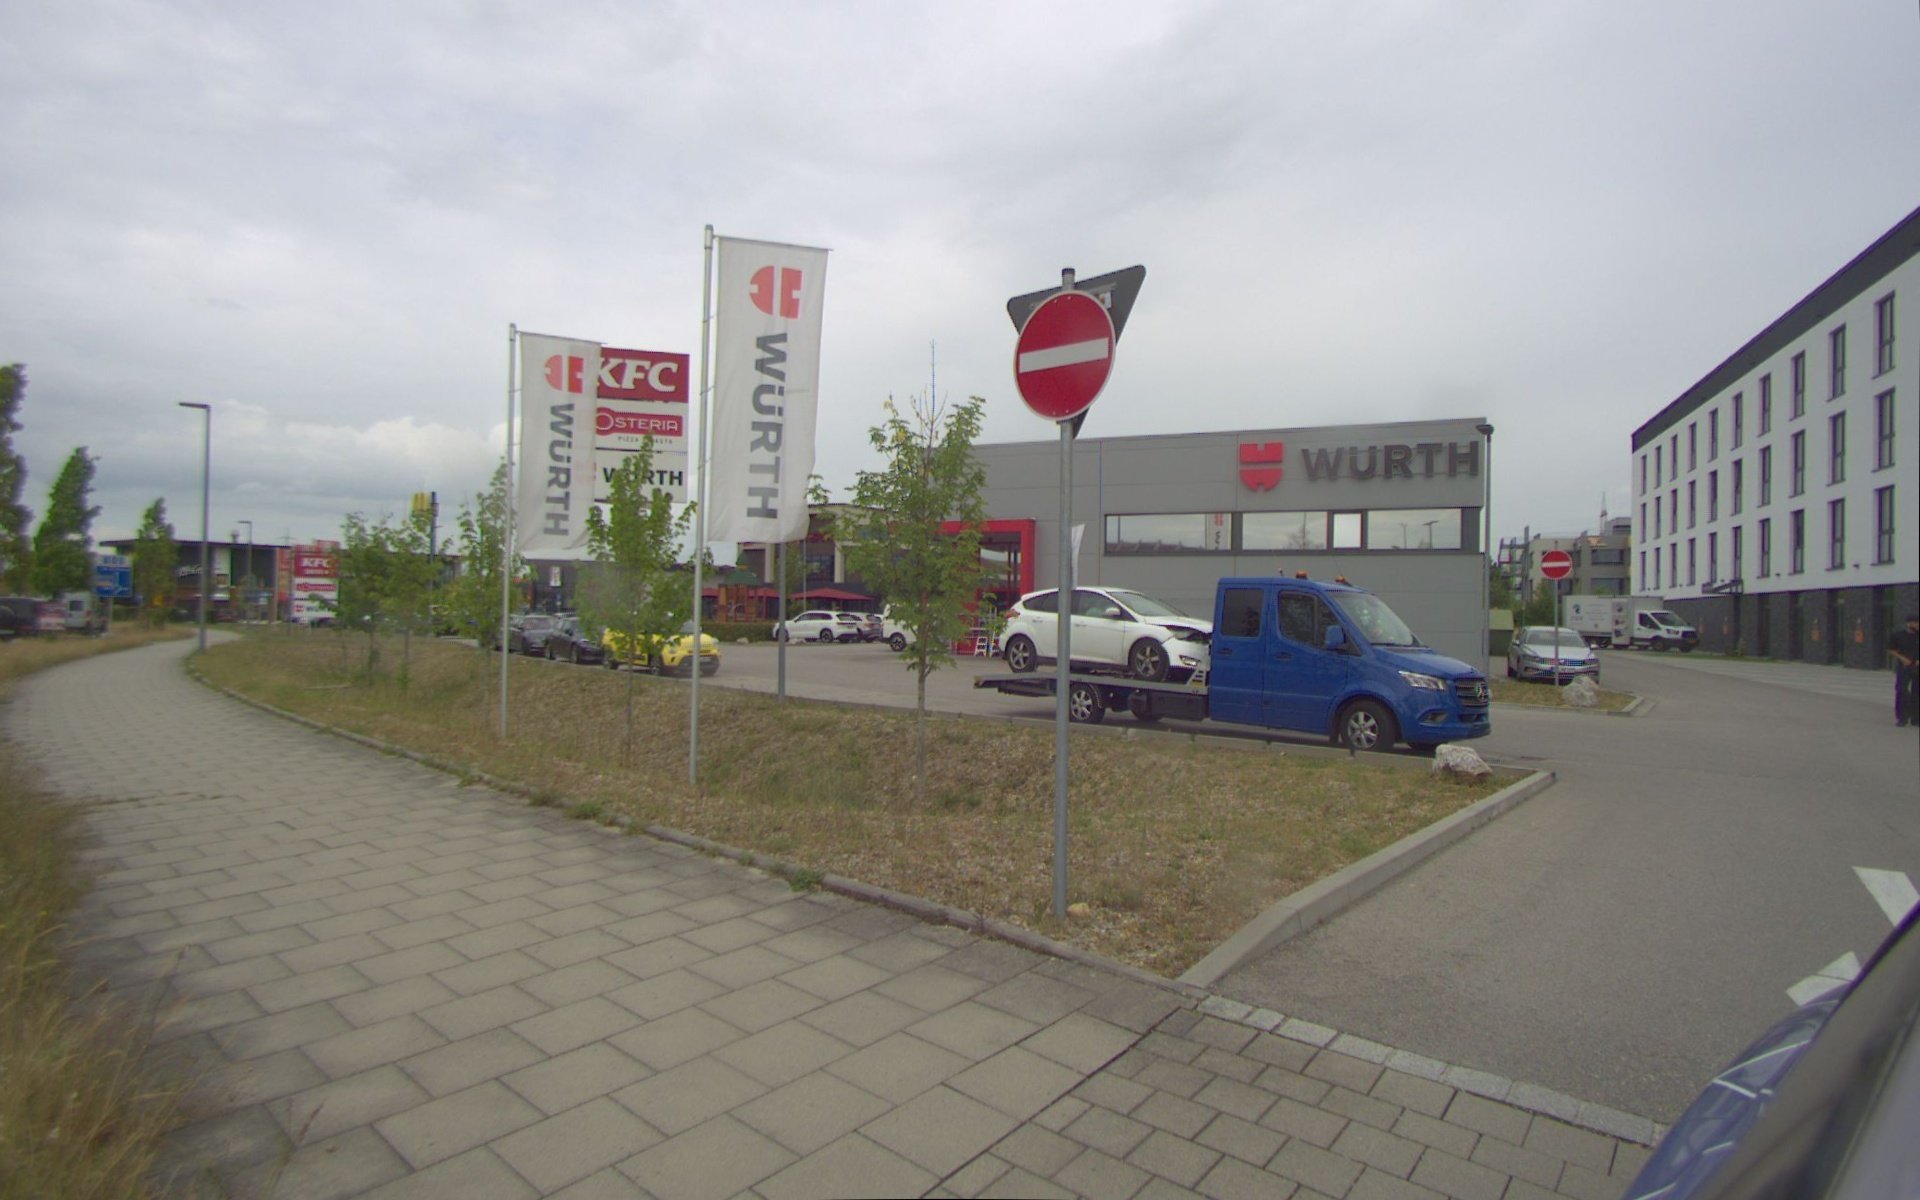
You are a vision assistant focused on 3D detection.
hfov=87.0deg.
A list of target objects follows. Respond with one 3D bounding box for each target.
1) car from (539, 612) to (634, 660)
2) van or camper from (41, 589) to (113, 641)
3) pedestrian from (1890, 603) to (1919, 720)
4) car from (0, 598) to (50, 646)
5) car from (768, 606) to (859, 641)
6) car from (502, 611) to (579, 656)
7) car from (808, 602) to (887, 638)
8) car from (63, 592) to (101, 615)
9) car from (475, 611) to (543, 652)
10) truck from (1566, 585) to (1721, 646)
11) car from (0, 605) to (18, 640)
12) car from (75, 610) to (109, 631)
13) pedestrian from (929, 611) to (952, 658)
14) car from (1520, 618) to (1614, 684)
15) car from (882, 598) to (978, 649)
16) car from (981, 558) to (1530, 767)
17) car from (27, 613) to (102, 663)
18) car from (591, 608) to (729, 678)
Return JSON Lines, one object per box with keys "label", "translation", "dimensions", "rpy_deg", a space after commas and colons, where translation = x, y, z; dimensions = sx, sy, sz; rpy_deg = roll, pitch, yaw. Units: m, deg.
{"label": "car", "translation": [-11.957, 1.105, 32.267], "dimensions": [1.712, 1.379, 3.996], "rpy_deg": [0, 0, -38]}
{"label": "van or camper", "translation": [-46.483, 0.806, 53.404], "dimensions": [2.154, 2.574, 6.164], "rpy_deg": [1, -1, -35]}
{"label": "pedestrian", "translation": [15.576, 0.981, 16.312], "dimensions": [0.704, 1.845, 0.804], "rpy_deg": [0, -1, 30]}
{"label": "car", "translation": [-39.924, 0.902, 42.520], "dimensions": [1.962, 1.948, 4.845], "rpy_deg": [1, -1, -36]}
{"label": "car", "translation": [-7.832, 1.238, 53.944], "dimensions": [4.696, 1.771, 1.741], "rpy_deg": [0, -1, 28]}
{"label": "car", "translation": [-15.422, 1.176, 37.137], "dimensions": [1.684, 1.518, 3.998], "rpy_deg": [0, 0, -37]}
{"label": "car", "translation": [-6.278, 1.111, 56.389], "dimensions": [3.961, 1.883, 1.981], "rpy_deg": [1, 0, 27]}
{"label": "car", "translation": [-56.742, 0.209, 65.458], "dimensions": [1.466, 1.403, 3.341], "rpy_deg": [1, 0, -35]}
{"label": "car", "translation": [-18.470, 1.245, 41.386], "dimensions": [1.684, 1.518, 3.998], "rpy_deg": [0, 0, -37]}
{"label": "truck", "translation": [36.510, 0.795, 54.396], "dimensions": [2.385, 3.055, 7.083], "rpy_deg": [0, 0, -14]}
{"label": "car", "translation": [-48.786, 1.090, 50.719], "dimensions": [1.874, 1.588, 4.333], "rpy_deg": [1, 0, -38]}
{"label": "car", "translation": [-60.330, 1.414, 70.367], "dimensions": [1.466, 1.403, 3.341], "rpy_deg": [0, 0, -35]}
{"label": "pedestrian", "translation": [-0.760, 1.350, 39.886], "dimensions": [0.652, 1.831, 0.643], "rpy_deg": [1, -1, 27]}
{"label": "car", "translation": [16.322, 1.293, 27.268], "dimensions": [1.966, 1.510, 4.717], "rpy_deg": [3, 1, 31]}
{"label": "car", "translation": [-1.240, 0.928, 41.594], "dimensions": [3.638, 2.004, 1.661], "rpy_deg": [0, 0, 26]}
{"label": "car", "translation": [3.806, 0.682, 15.022], "dimensions": [2.164, 2.352, 7.840], "rpy_deg": [1, 0, -42]}
{"label": "car", "translation": [-32.376, 1.330, 36.670], "dimensions": [1.653, 1.698, 3.505], "rpy_deg": [0, 0, -35]}
{"label": "car", "translation": [-8.116, 1.078, 27.192], "dimensions": [4.285, 1.705, 1.725], "rpy_deg": [0, 0, 45]}
